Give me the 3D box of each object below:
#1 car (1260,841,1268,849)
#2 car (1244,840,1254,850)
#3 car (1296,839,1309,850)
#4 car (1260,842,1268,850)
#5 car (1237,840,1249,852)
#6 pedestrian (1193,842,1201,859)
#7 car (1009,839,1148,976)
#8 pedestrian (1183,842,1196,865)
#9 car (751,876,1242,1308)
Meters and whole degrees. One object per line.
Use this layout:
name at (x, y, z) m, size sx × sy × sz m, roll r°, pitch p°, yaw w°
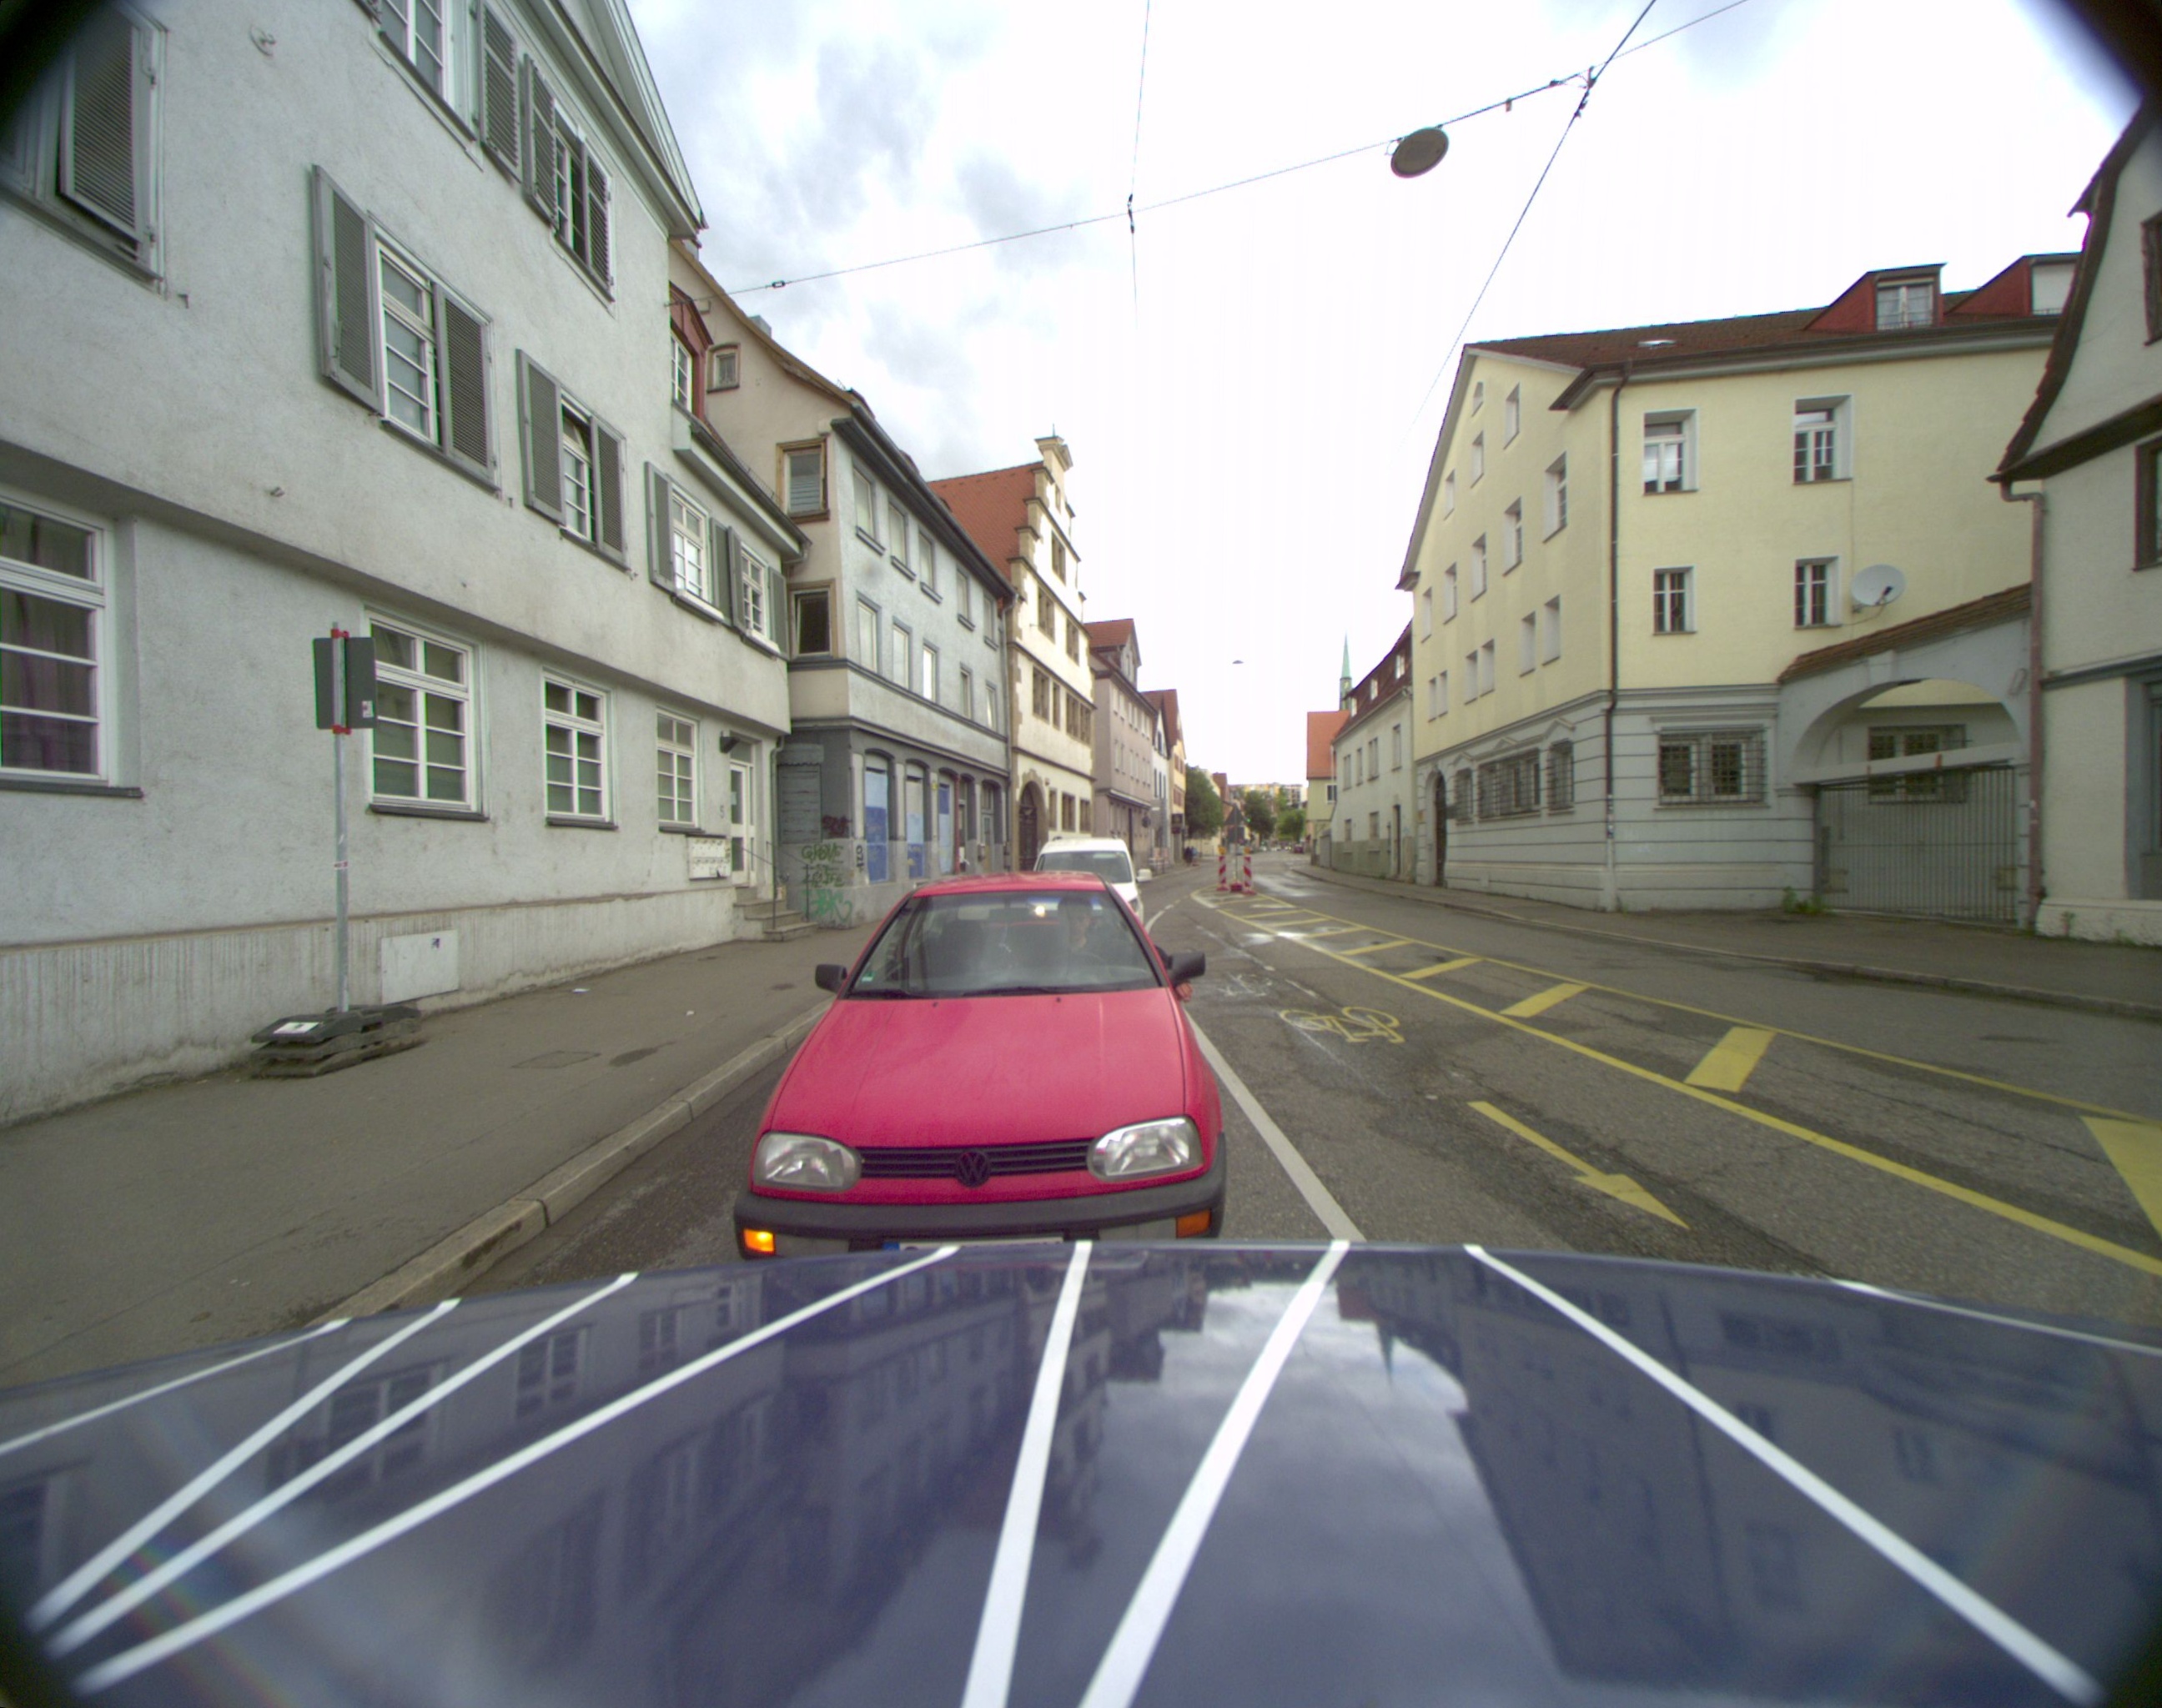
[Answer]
car at (44.956, -2.169, 186.807) m, size 1.996 × 2.002 × 4.004 m, roll -1°, pitch 0°, yaw 13°
car at (34.113, -1.769, 154.243) m, size 1.996 × 2.002 × 4.004 m, roll -1°, pitch 0°, yaw 13°
car at (42.727, -1.787, 146.576) m, size 2.057 × 2.002 × 4.004 m, roll -1°, pitch 0°, yaw 13°
car at (48.476, -2.120, 201.281) m, size 1.996 × 2.002 × 4.004 m, roll -1°, pitch 0°, yaw 13°
car at (28.455, -1.354, 133.496) m, size 1.996 × 2.002 × 4.004 m, roll -1°, pitch 0°, yaw 13°
pedestrian at (12.326, -0.386, 80.516) m, size 0.562 × 1.784 × 0.658 m, roll -1°, pitch 0°, yaw -28°
car at (-0.008, 0.709, 12.177) m, size 1.804 × 1.781 × 4.349 m, roll -1°, pitch 0°, yaw 1°
pedestrian at (8.709, -0.035, 61.052) m, size 0.877 × 1.888 × 0.898 m, roll -1°, pitch 0°, yaw 14°
car at (-0.298, 0.982, 4.930) m, size 1.804 × 1.458 × 4.000 m, roll -4°, pitch 0°, yaw 1°
